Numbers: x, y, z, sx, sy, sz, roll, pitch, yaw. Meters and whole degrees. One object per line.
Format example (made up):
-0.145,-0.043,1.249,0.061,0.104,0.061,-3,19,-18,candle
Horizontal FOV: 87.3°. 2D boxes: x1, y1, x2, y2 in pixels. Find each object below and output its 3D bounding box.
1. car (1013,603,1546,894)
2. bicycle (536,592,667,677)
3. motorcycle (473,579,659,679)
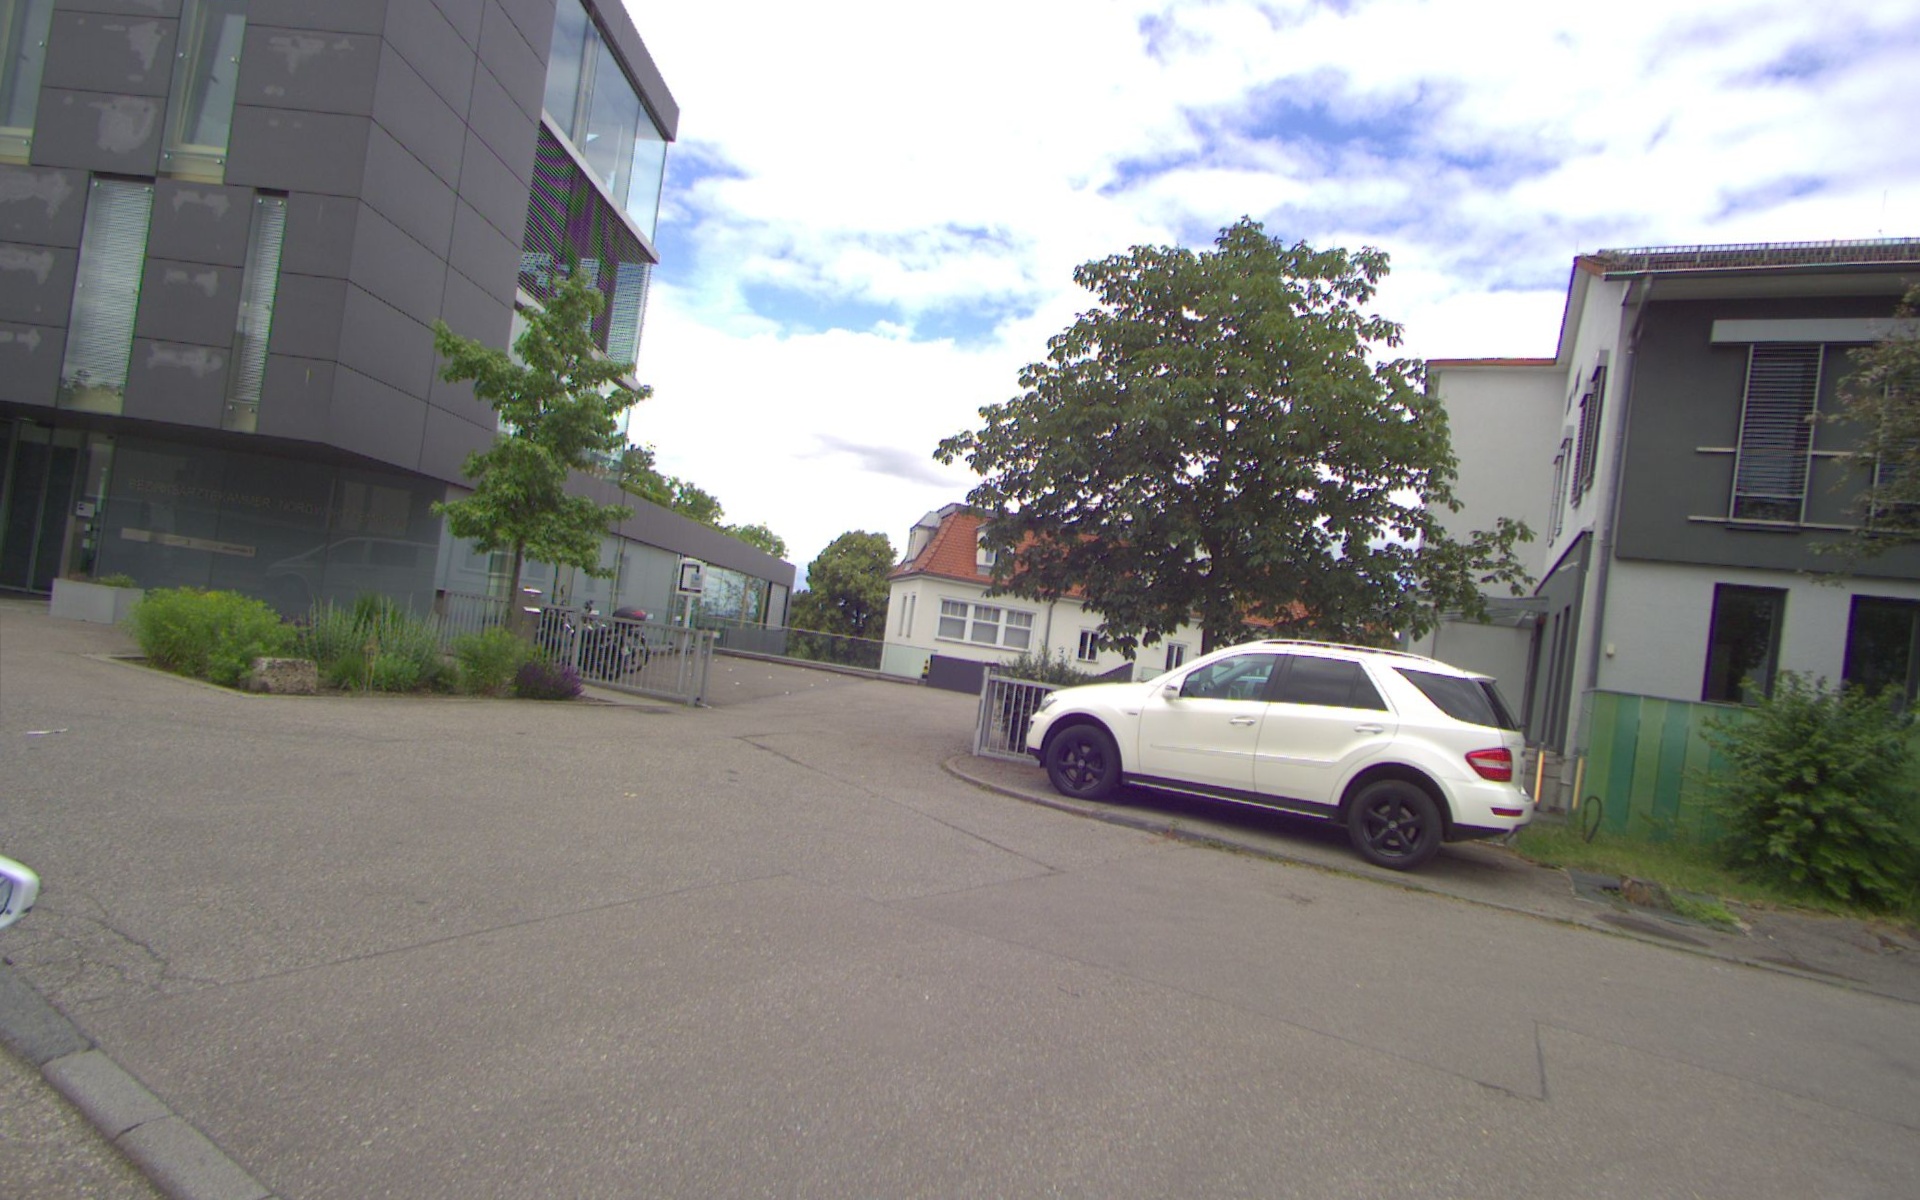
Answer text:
3.016,1.225,9.745,4.442,1.860,1.996,6,-1,31,car
-6.625,0.634,18.634,2.063,1.275,0.616,8,-1,5,bicycle
-6.539,0.484,16.764,2.643,1.275,0.850,8,-1,5,motorcycle
